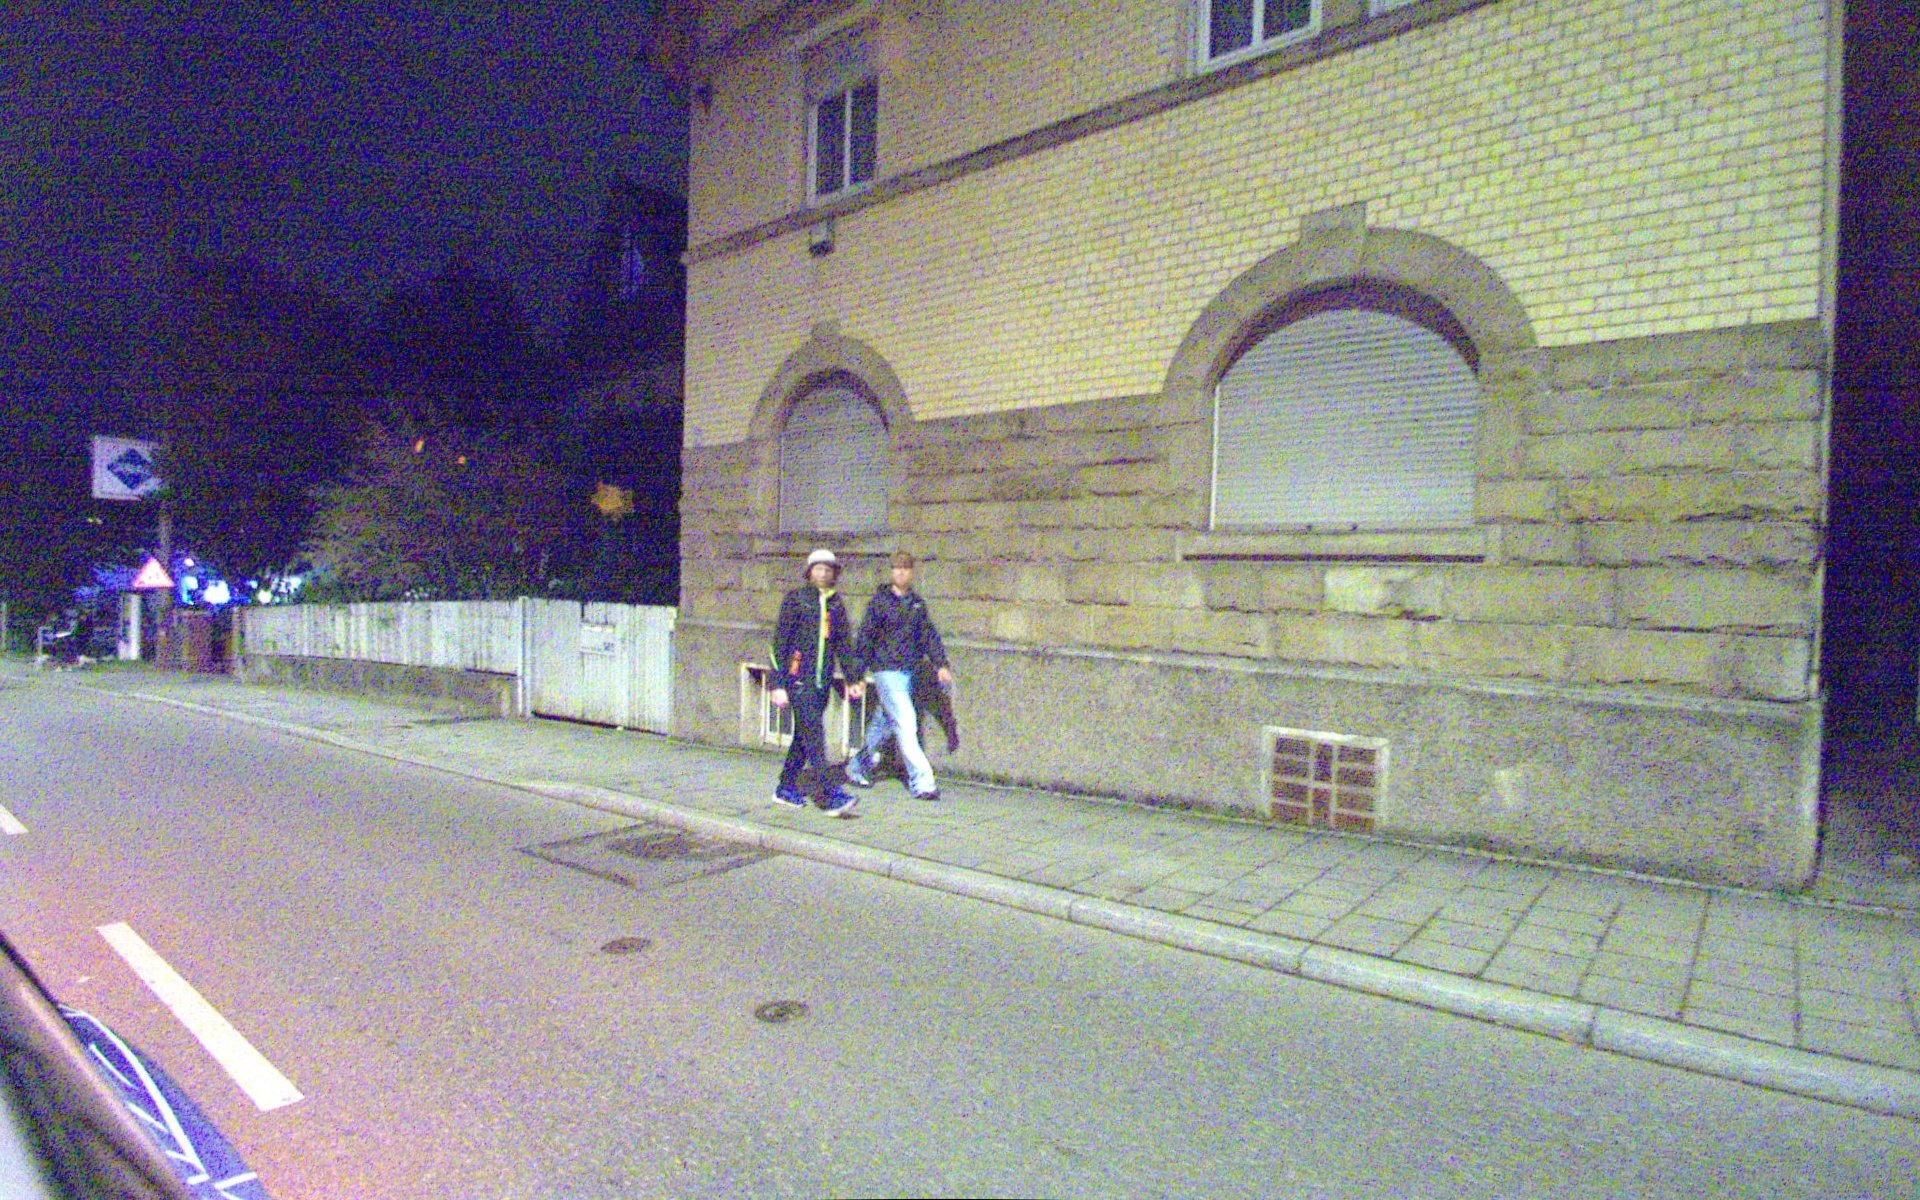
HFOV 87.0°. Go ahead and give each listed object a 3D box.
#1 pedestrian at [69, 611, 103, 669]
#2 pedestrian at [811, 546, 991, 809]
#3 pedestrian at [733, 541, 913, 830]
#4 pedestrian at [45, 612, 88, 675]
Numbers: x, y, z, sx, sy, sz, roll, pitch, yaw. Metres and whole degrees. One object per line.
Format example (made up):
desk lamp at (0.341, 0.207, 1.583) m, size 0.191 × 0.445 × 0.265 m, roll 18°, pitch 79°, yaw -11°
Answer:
pedestrian at (-27.130, 1.234, 31.409) m, size 0.865 × 1.739 × 0.662 m, roll -2°, pitch -1°, yaw 38°
pedestrian at (-0.441, 0.519, 7.388) m, size 1.102 × 1.758 × 0.734 m, roll -1°, pitch 0°, yaw 40°
pedestrian at (-0.923, 0.523, 6.754) m, size 1.028 × 1.758 × 0.668 m, roll -1°, pitch 0°, yaw 40°
pedestrian at (-24.585, 1.175, 27.845) m, size 1.102 × 1.684 × 0.734 m, roll -1°, pitch 0°, yaw 40°
